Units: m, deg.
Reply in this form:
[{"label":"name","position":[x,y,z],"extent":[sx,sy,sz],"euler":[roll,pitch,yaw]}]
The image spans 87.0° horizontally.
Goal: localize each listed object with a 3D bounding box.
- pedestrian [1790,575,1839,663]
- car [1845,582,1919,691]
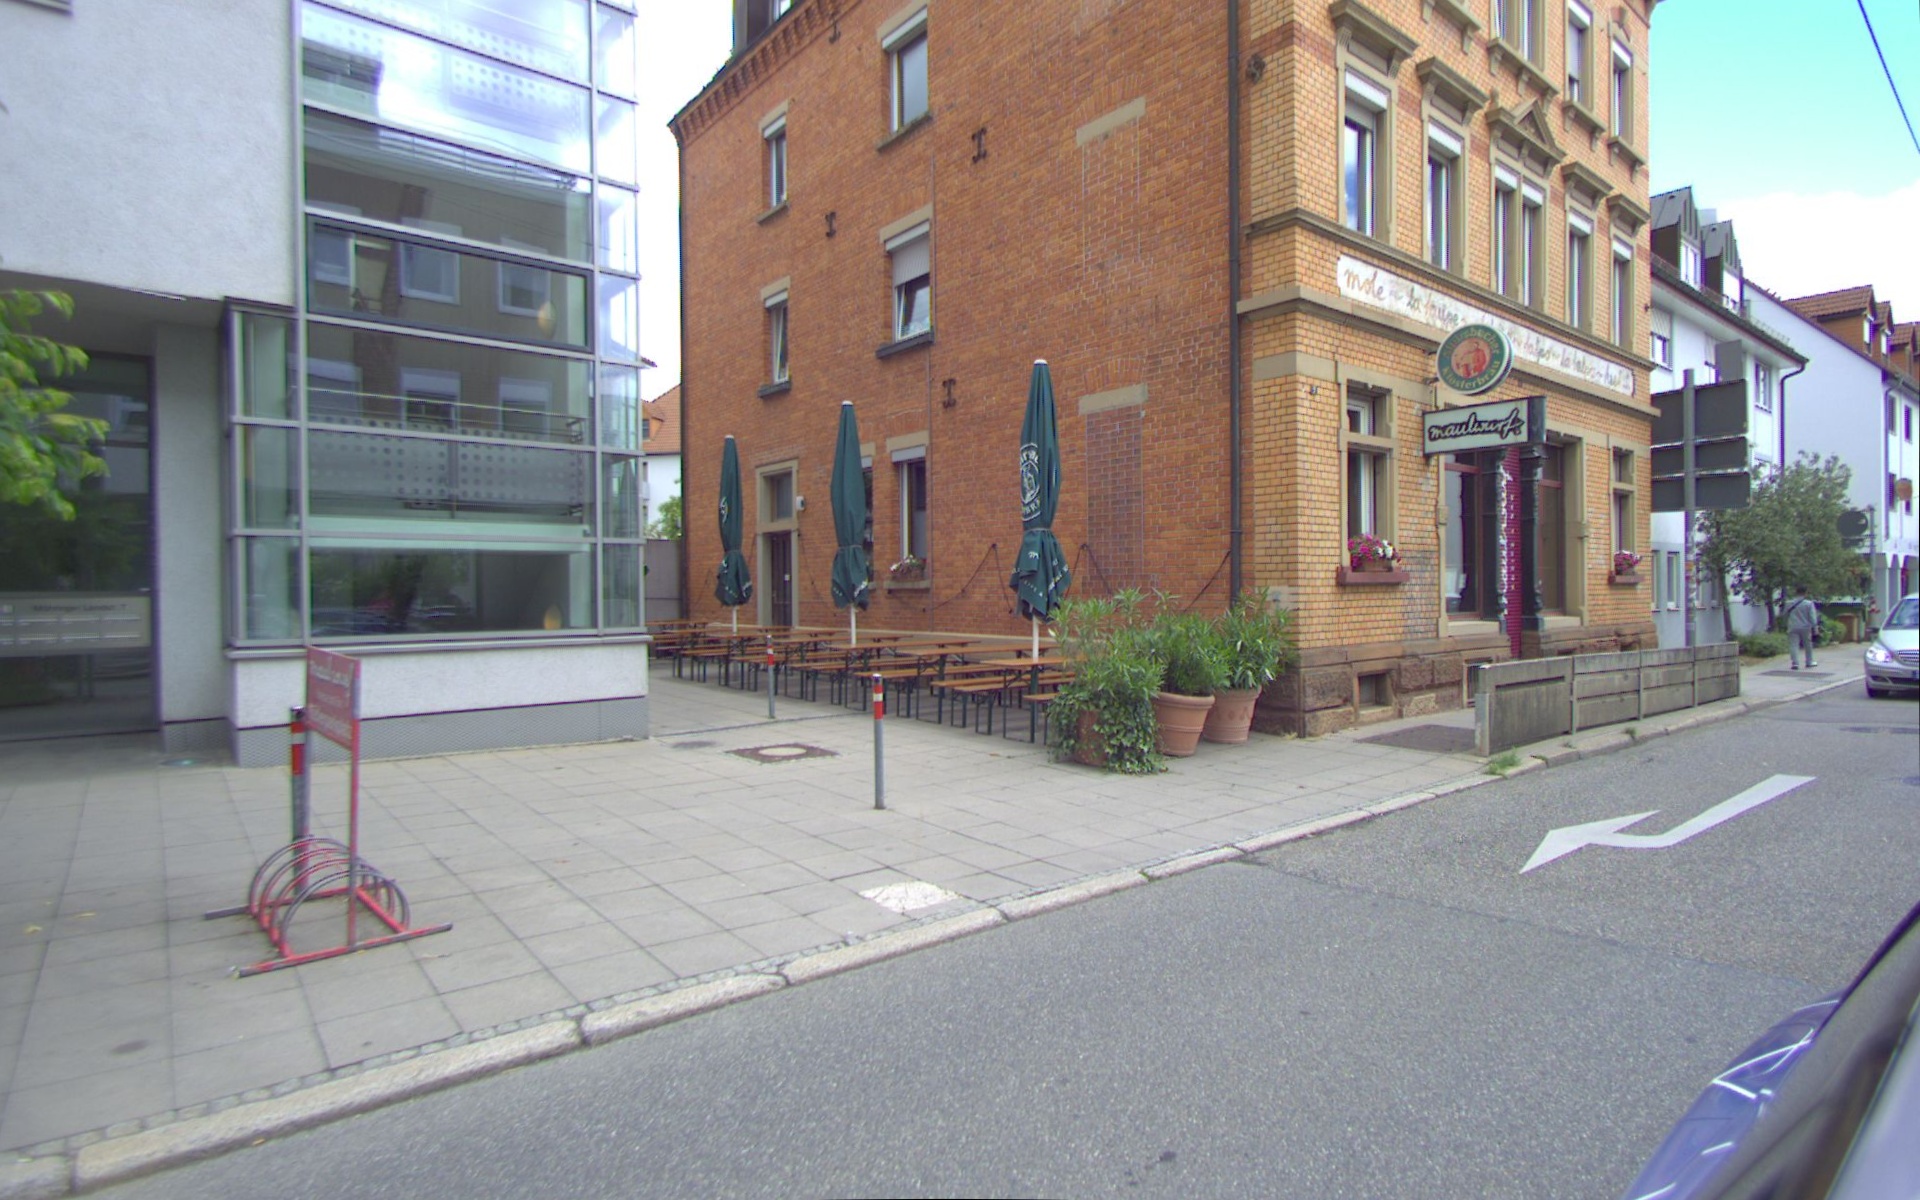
[{"label":"pedestrian","position":[17.365,0.377,20.566],"extent":[0.638,1.752,0.689],"euler":[0,0,-41]},{"label":"car","position":[15.742,0.488,15.691],"extent":[4.484,1.566,1.999],"euler":[-1,-2,-35]}]
